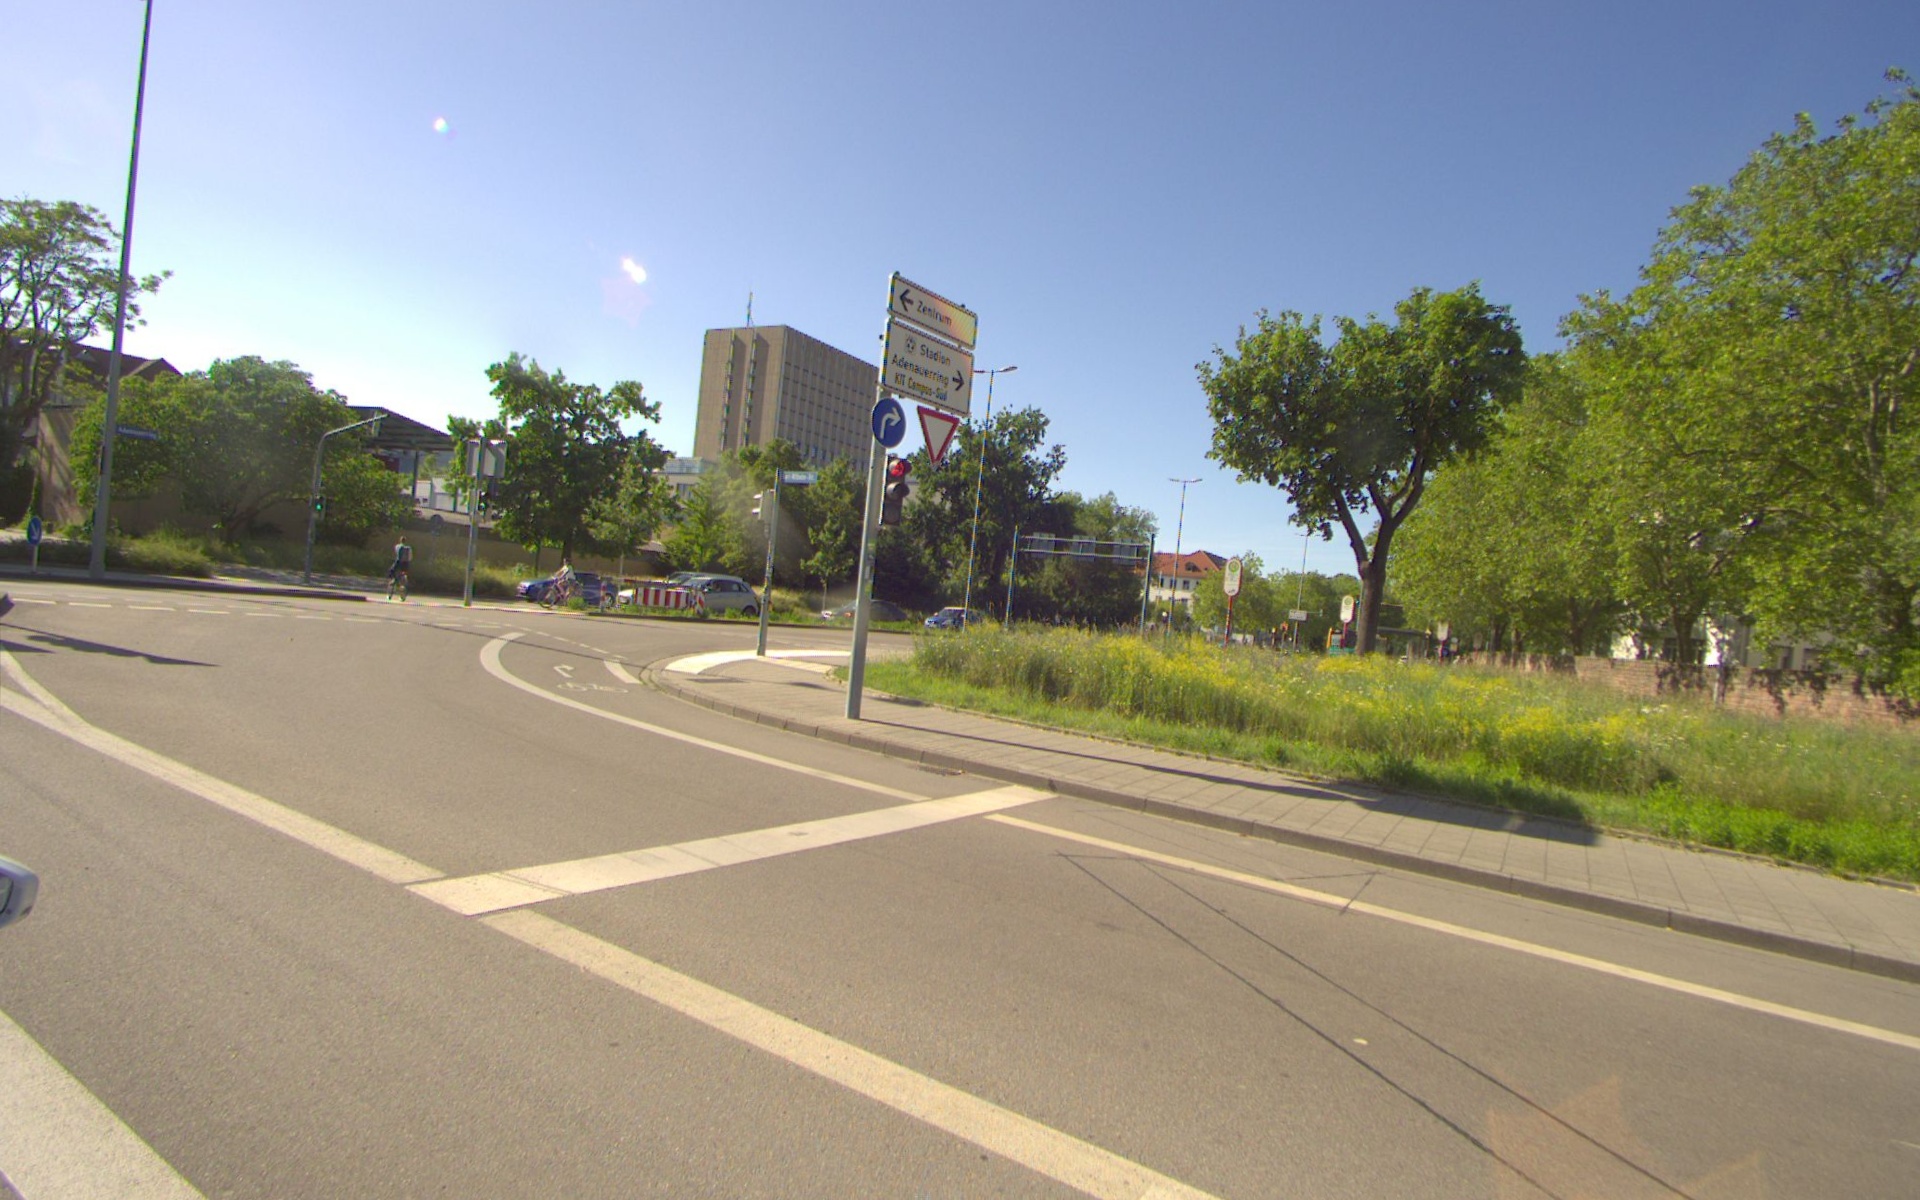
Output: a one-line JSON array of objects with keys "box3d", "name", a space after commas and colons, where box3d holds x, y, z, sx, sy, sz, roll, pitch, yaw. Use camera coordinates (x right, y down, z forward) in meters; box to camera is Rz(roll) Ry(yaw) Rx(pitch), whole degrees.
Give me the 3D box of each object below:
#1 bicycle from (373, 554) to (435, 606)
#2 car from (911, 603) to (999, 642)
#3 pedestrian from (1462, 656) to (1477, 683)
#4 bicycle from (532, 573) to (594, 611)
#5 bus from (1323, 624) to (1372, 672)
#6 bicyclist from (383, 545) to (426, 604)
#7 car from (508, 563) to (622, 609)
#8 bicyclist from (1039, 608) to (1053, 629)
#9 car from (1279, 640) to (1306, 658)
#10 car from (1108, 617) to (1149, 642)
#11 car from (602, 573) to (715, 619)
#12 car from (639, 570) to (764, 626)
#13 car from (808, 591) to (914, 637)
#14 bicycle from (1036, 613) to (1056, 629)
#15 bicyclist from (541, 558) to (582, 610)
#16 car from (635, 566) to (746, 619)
[{"box3d": [-14.918, -0.543, 26.974, 1.841, 1.180, 0.641, 8, 3, 36], "name": "bicycle"}, {"box3d": [-0.182, 1.175, 50.585, 1.953, 1.573, 4.709, 5, -1, 35], "name": "car"}, {"box3d": [32.255, 4.386, 63.702, 0.642, 1.630, 0.558, 6, -1, 30], "name": "pedestrian"}, {"box3d": [-13.929, -0.273, 35.347, 0.736, 1.180, 1.864, 7, 2, 33], "name": "bicycle"}, {"box3d": [31.968, 4.009, 82.866, 2.935, 3.310, 6.255, 7, -2, 26], "name": "bus"}, {"box3d": [-14.865, -0.690, 26.939, 0.764, 1.463, 0.641, 8, 3, 36], "name": "bicyclist"}, {"box3d": [-16.166, -0.535, 41.330, 1.679, 1.459, 3.988, 5, -1, 35], "name": "car"}, {"box3d": [7.182, 1.570, 83.932, 0.633, 1.666, 0.774, 7, 1, 36], "name": "bicyclist"}, {"box3d": [41.166, 6.046, 124.504, 1.907, 1.976, 4.747, 5, -1, 32], "name": "car"}, {"box3d": [14.447, 2.514, 86.163, 1.907, 1.821, 4.353, 5, -1, 30], "name": "car"}, {"box3d": [-12.463, -0.150, 41.688, 1.971, 1.487, 3.982, 6, 0, 40], "name": "car"}, {"box3d": [-9.527, -0.043, 37.342, 1.762, 1.644, 4.302, 5, -1, 35], "name": "car"}, {"box3d": [-4.314, 0.651, 44.571, 1.953, 1.573, 4.709, 5, -1, 35], "name": "car"}, {"box3d": [7.172, 1.771, 83.949, 0.633, 1.179, 1.864, 7, 0, 36], "name": "bicycle"}, {"box3d": [-13.955, -0.544, 35.256, 0.734, 1.707, 0.974, 7, 2, 34], "name": "bicyclist"}, {"box3d": [-12.506, -0.314, 46.958, 1.909, 1.976, 4.742, 5, -1, 35], "name": "car"}]
